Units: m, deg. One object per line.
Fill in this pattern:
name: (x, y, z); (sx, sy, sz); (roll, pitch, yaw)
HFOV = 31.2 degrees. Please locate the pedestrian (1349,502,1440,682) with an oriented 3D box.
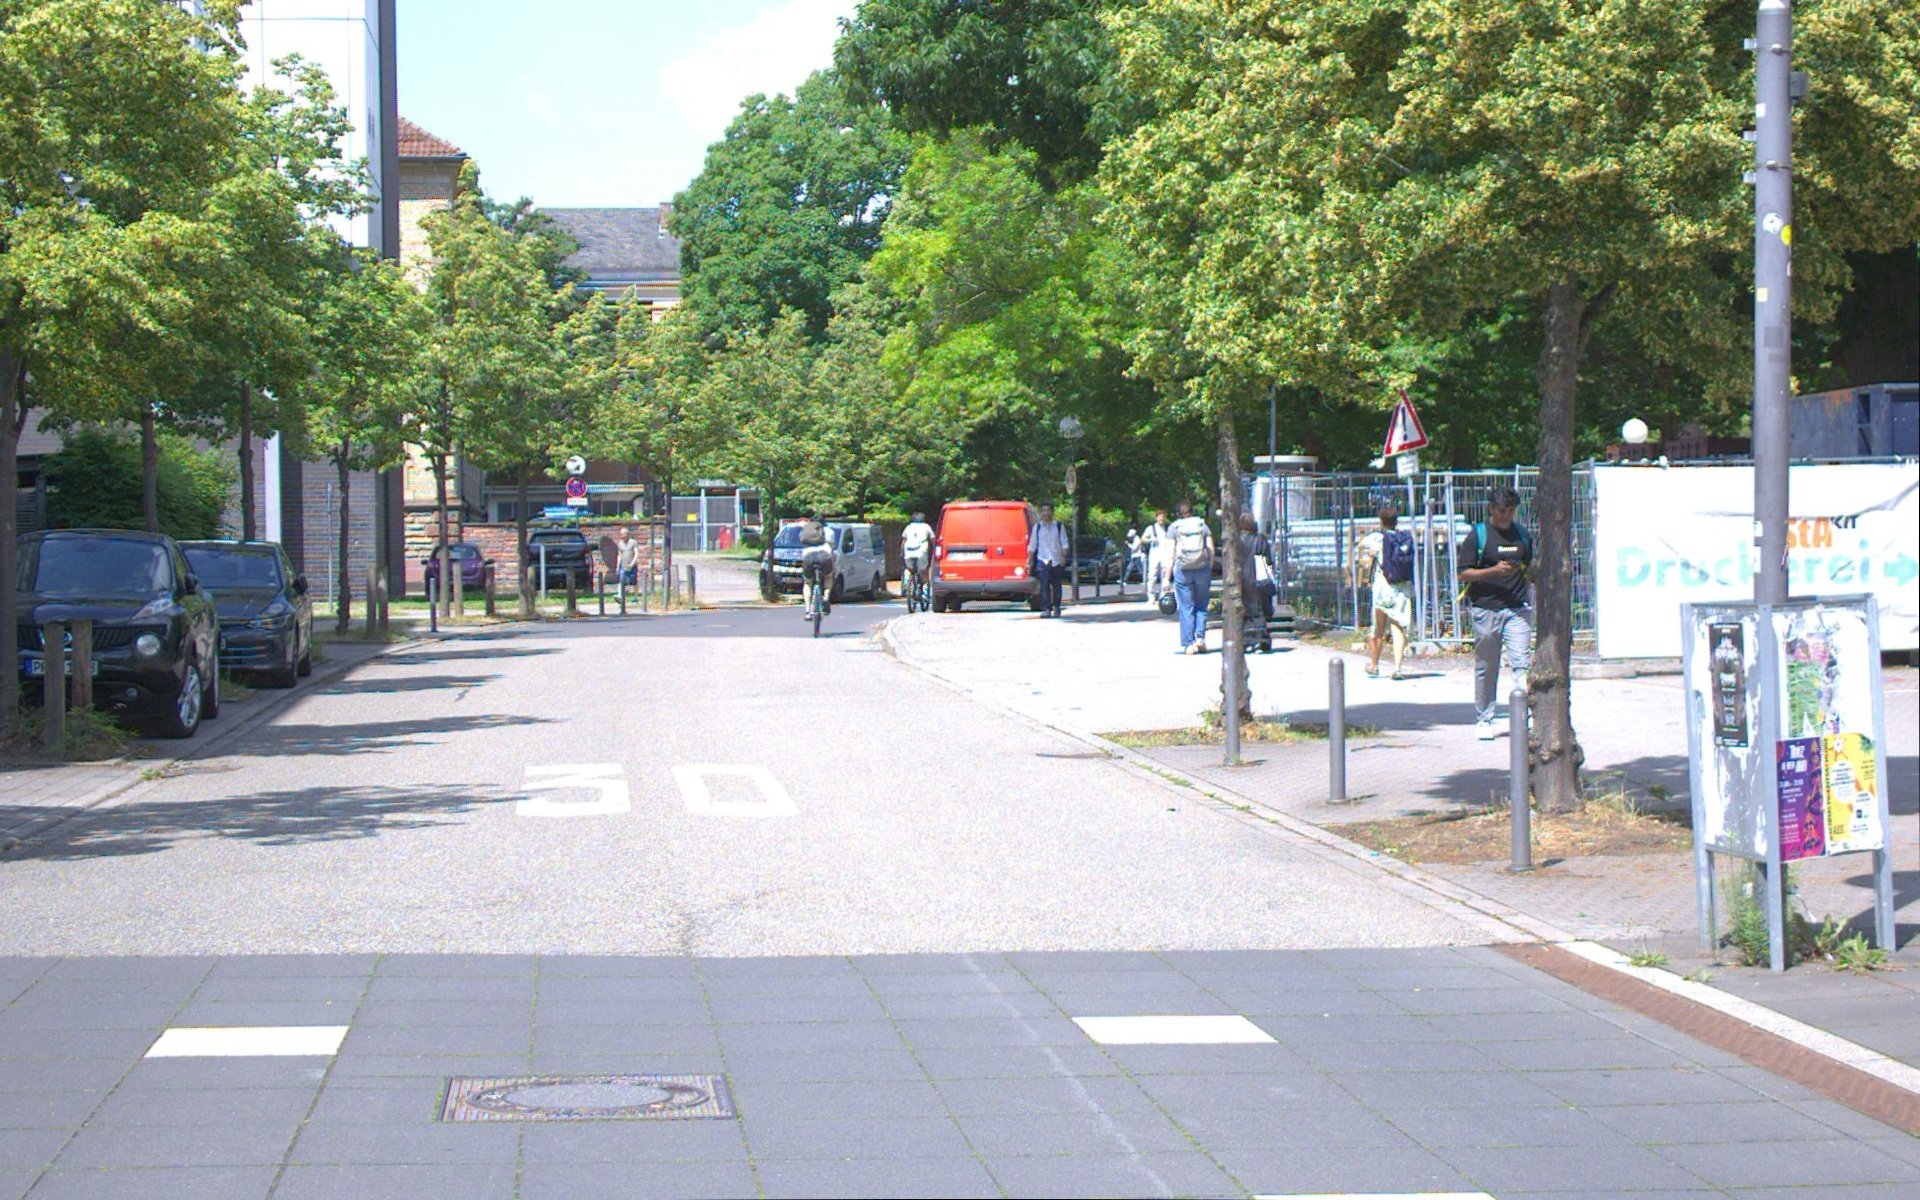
pedestrian: (4.088, -0.081, 32.404); (0.649, 1.660, 0.905); (-1, 1, -5)

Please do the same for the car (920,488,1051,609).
car: (0.465, -0.872, 56.962); (1.848, 1.885, 4.890); (-1, 1, 4)

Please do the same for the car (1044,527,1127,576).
car: (4.008, -1.547, 109.240); (1.761, 1.516, 4.109); (0, 1, 15)

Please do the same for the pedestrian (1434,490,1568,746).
pedestrian: (3.643, 0.108, 23.207); (0.641, 1.691, 0.792); (-1, 1, -11)

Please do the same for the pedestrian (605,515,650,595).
pedestrian: (-7.408, -1.010, 76.539); (0.585, 1.758, 0.910); (0, 1, 25)

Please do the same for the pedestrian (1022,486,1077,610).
pedestrian: (1.298, -0.760, 49.890); (0.695, 1.775, 0.787); (-1, 1, 7)

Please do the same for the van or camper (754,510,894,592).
van or camper: (-3.255, -1.204, 83.577); (1.955, 1.916, 5.417); (1, 1, 14)

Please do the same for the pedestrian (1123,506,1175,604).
pedestrian: (3.554, -0.848, 64.630); (0.721, 1.815, 0.630); (-1, 1, -42)

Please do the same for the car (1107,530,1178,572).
car: (6.207, -1.673, 116.550); (1.617, 1.383, 3.997); (0, 1, 15)

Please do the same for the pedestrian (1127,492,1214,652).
pedestrian: (2.350, -0.316, 38.452); (0.850, 1.758, 0.716); (-1, 1, -3)

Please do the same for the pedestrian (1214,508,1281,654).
pedestrian: (3.200, -0.216, 38.321); (0.668, 1.594, 0.985); (-1, 1, 2)

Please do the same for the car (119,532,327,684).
car: (-7.494, 0.039, 35.289); (1.777, 1.456, 4.260); (0, 1, -8)

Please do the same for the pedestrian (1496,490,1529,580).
pedestrian: (11.372, -1.345, 70.777); (0.543, 1.831, 0.762); (-1, 1, 0)

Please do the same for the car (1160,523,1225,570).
car: (8.474, -1.940, 124.927); (1.617, 1.673, 3.997); (0, 1, 15)

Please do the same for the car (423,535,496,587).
car: (-13.176, -1.029, 90.675); (1.817, 1.319, 3.769); (-1, 1, -7)

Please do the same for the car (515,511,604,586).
car: (-10.635, -1.371, 91.125); (2.174, 1.919, 5.187); (-1, 1, -8)

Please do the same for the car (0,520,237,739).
car: (-6.659, 0.169, 26.822); (1.696, 1.558, 4.069); (-1, 1, -8)
